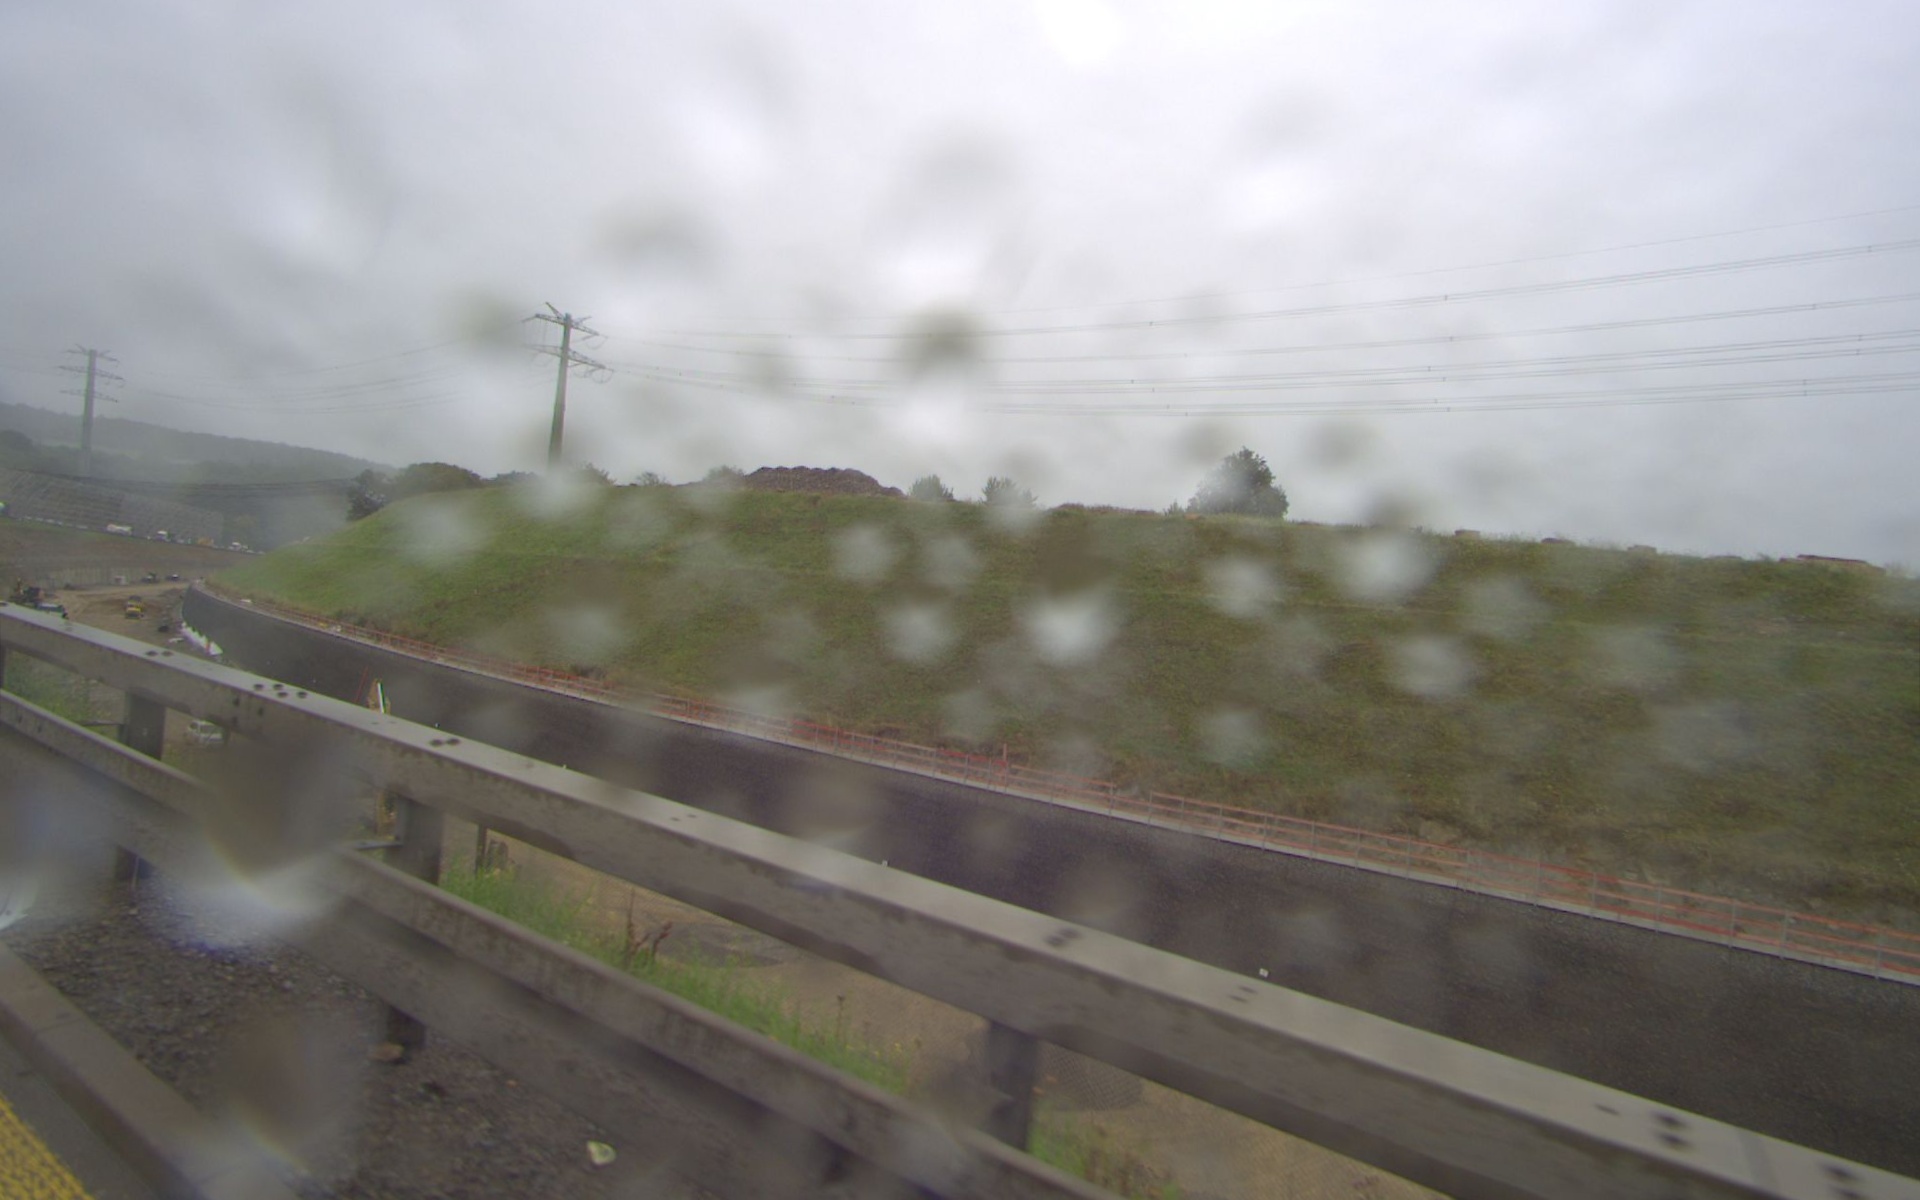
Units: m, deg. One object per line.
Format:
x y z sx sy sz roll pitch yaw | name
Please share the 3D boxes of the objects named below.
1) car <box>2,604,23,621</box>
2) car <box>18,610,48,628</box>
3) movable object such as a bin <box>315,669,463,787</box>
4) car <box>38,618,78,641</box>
-138.724 1.843 147.289 1.988 2.036 3.953 9 -2 -42 | car
-117.061 2.403 127.085 3.939 1.837 1.994 6 -2 37 | car
-23.023 5.140 40.599 4.054 3.910 3.222 8 -2 32 | movable object such as a bin
-103.900 3.388 115.891 3.937 2.036 2.368 7 -2 35 | car
